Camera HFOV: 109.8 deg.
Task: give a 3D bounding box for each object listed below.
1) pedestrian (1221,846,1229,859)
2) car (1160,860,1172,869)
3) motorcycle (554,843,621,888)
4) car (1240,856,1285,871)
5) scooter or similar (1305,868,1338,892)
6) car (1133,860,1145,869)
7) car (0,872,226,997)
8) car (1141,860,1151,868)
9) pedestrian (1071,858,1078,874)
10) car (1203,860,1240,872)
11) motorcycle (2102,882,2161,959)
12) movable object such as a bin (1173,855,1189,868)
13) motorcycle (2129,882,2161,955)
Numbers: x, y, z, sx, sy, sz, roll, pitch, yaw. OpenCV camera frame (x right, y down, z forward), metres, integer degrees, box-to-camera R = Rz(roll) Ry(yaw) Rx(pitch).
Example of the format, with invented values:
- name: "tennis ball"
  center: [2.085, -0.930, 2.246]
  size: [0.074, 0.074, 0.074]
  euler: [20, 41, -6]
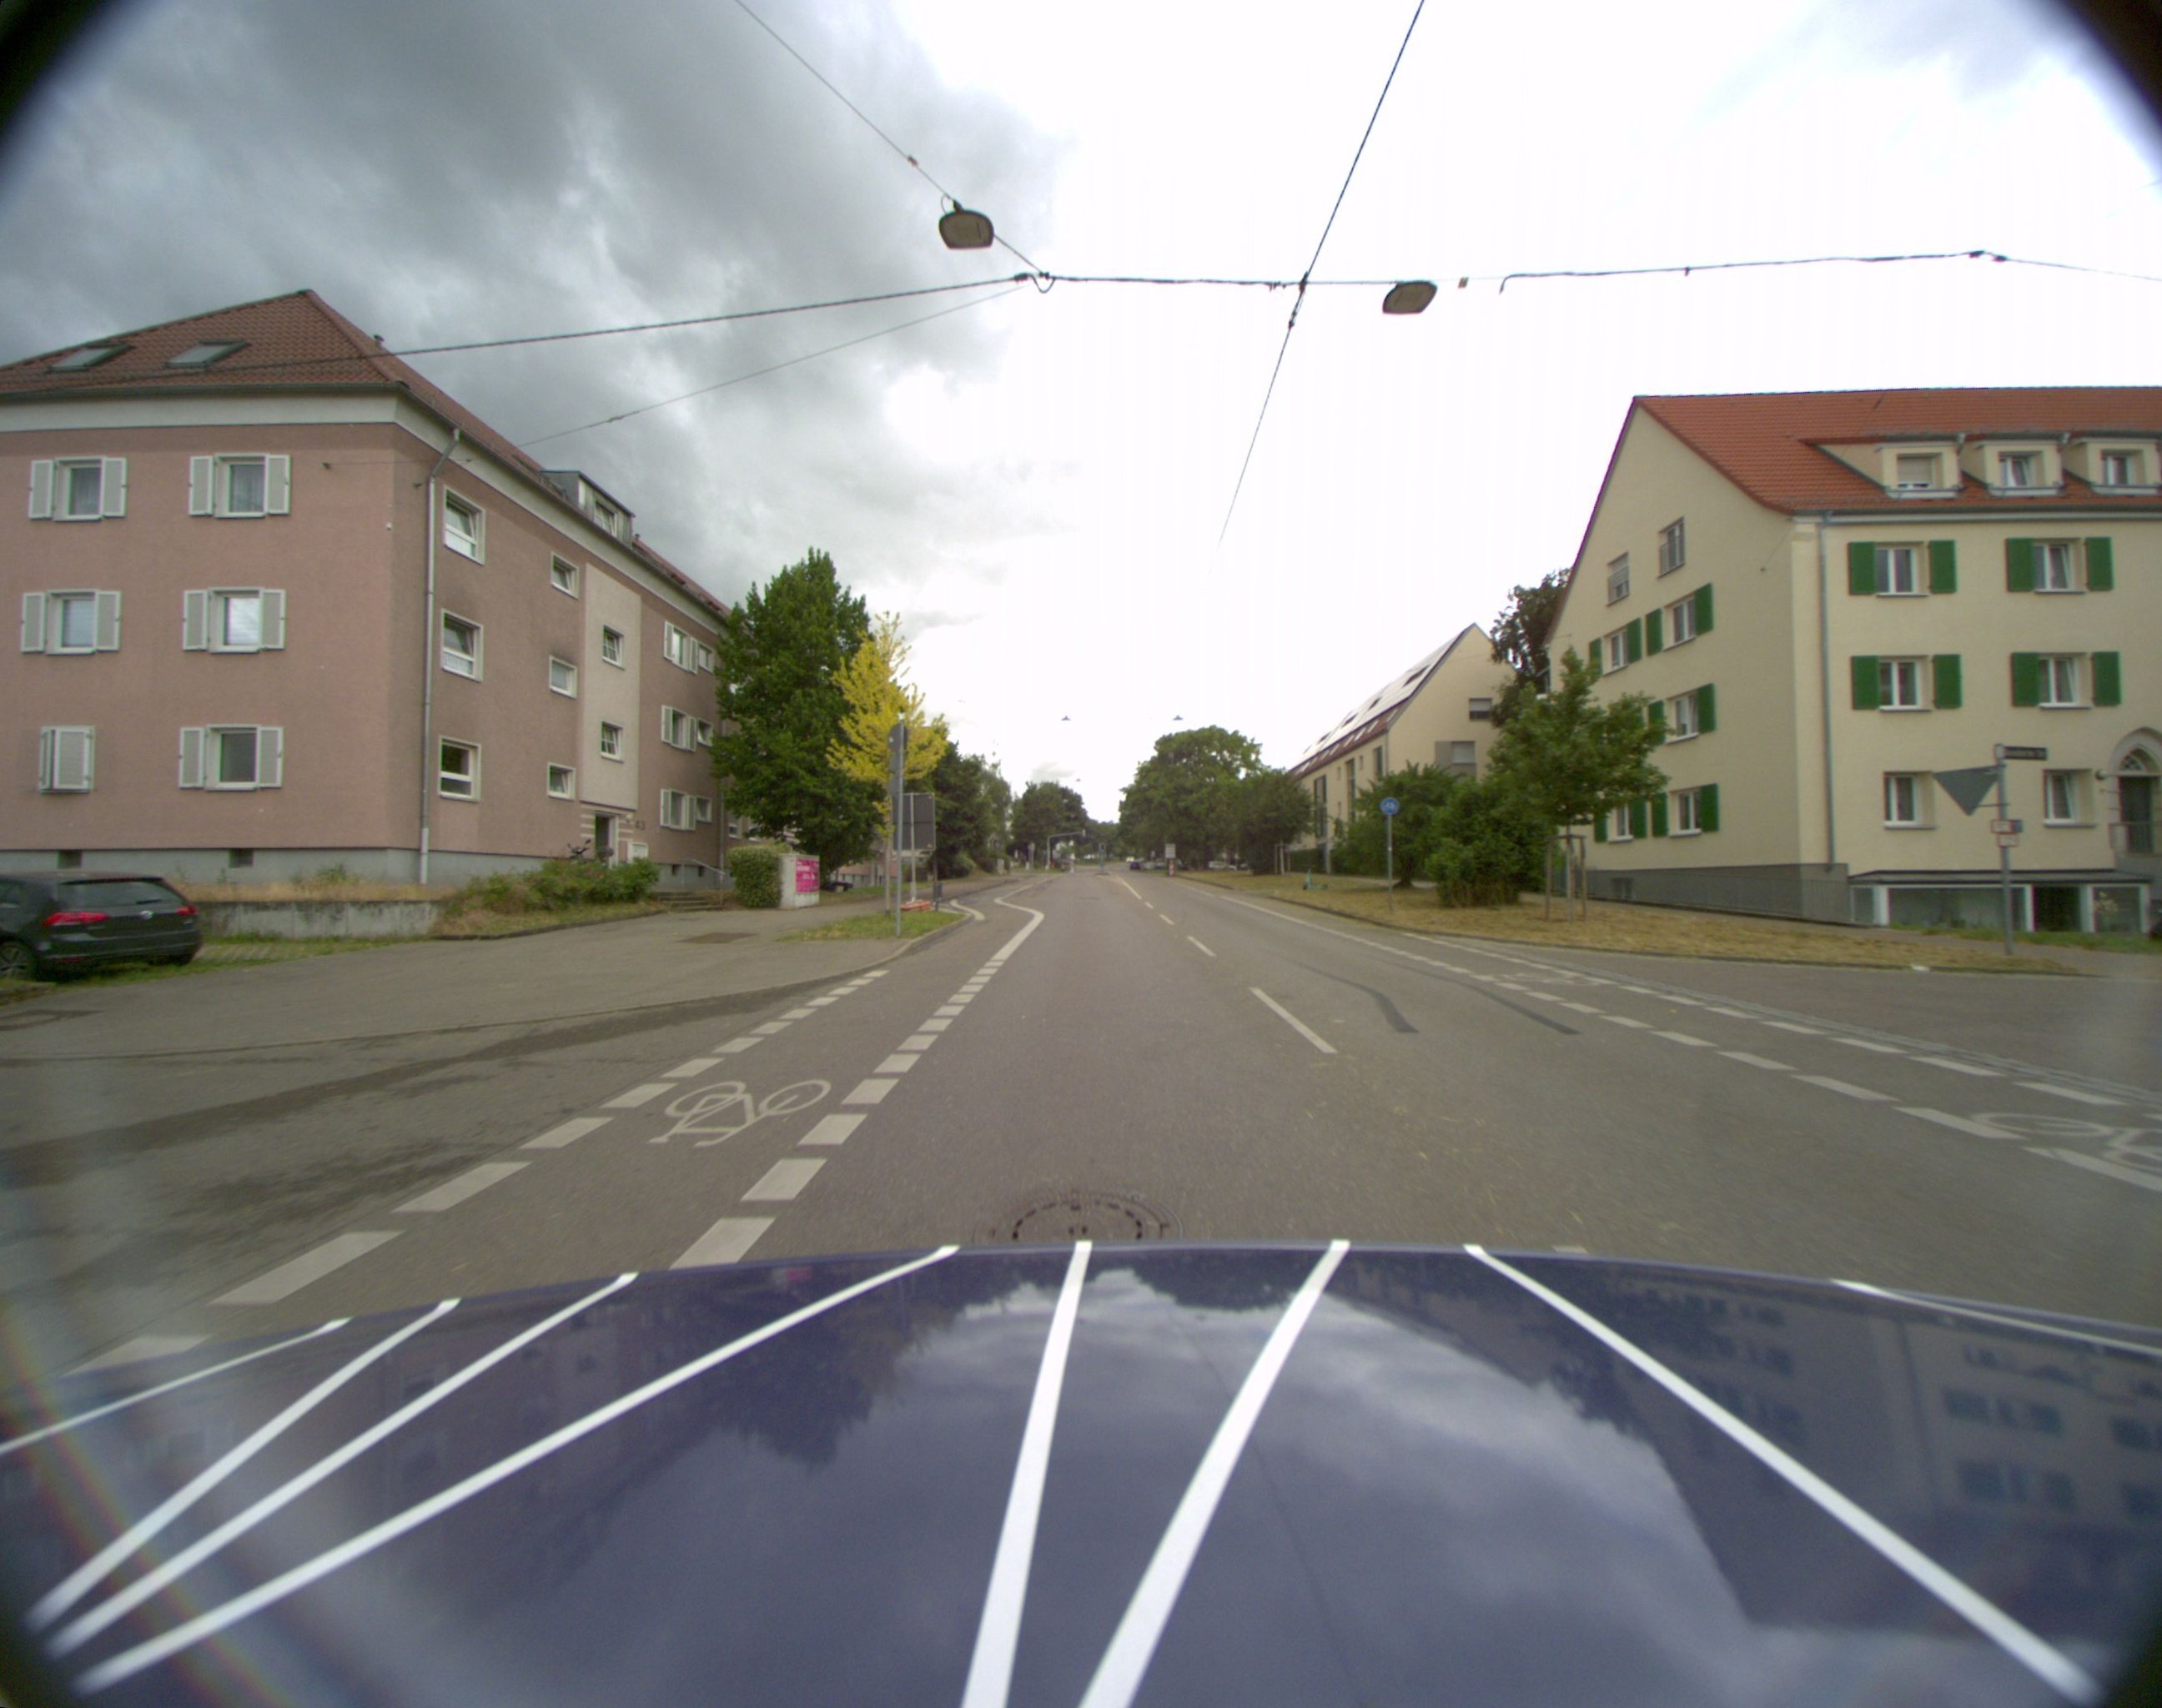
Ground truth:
- name: "pedestrian"
  center: [19.359, -0.196, 102.160]
  size: [0.778, 1.746, 0.688]
  euler: [-1, 0, -31]
- name: "car"
  center: [15.431, 1.907, 138.195]
  size: [1.860, 1.596, 4.001]
  euler: [-1, 0, 2]
- name: "motorcycle"
  center: [-13.882, 0.311, 21.442]
  size: [0.592, 1.220, 1.967]
  euler: [-1, 0, 1]
- name: "car"
  center: [22.915, 1.209, 95.932]
  size: [5.152, 1.906, 2.000]
  euler: [-1, 0, 1]
- name: "scooter or similar"
  center: [11.080, 1.177, 34.988]
  size: [1.374, 1.080, 0.467]
  euler: [0, 0, -3]
- name: "car"
  center: [11.344, 2.077, 148.400]
  size: [1.997, 1.674, 4.002]
  euler: [-1, 0, 7]
- name: "car"
  center: [-14.550, 1.015, 10.315]
  size: [3.996, 1.445, 1.688]
  euler: [1, 2, 1]
- name: "car"
  center: [11.675, 1.798, 137.240]
  size: [1.604, 1.346, 4.001]
  euler: [-1, 0, 2]
- name: "pedestrian"
  center: [-0.669, 1.308, 80.131]
  size: [0.658, 1.674, 0.575]
  euler: [2, -2, 2]
- name: "car"
  center: [17.068, 1.462, 92.189]
  size: [4.030, 1.455, 1.806]
  euler: [1, 0, -9]
- name: "motorcycle"
  center: [19.591, 1.156, 12.831]
  size: [2.598, 1.271, 1.019]
  euler: [0, 1, 34]
- name: "movable object such as a bin"
  center: [14.474, 1.047, 110.209]
  size: [1.099, 1.892, 3.247]
  euler: [-1, 0, -13]
- name: "motorcycle"
  center: [20.843, 1.158, 13.386]
  size: [2.599, 1.271, 1.019]
  euler: [-1, 0, 34]
